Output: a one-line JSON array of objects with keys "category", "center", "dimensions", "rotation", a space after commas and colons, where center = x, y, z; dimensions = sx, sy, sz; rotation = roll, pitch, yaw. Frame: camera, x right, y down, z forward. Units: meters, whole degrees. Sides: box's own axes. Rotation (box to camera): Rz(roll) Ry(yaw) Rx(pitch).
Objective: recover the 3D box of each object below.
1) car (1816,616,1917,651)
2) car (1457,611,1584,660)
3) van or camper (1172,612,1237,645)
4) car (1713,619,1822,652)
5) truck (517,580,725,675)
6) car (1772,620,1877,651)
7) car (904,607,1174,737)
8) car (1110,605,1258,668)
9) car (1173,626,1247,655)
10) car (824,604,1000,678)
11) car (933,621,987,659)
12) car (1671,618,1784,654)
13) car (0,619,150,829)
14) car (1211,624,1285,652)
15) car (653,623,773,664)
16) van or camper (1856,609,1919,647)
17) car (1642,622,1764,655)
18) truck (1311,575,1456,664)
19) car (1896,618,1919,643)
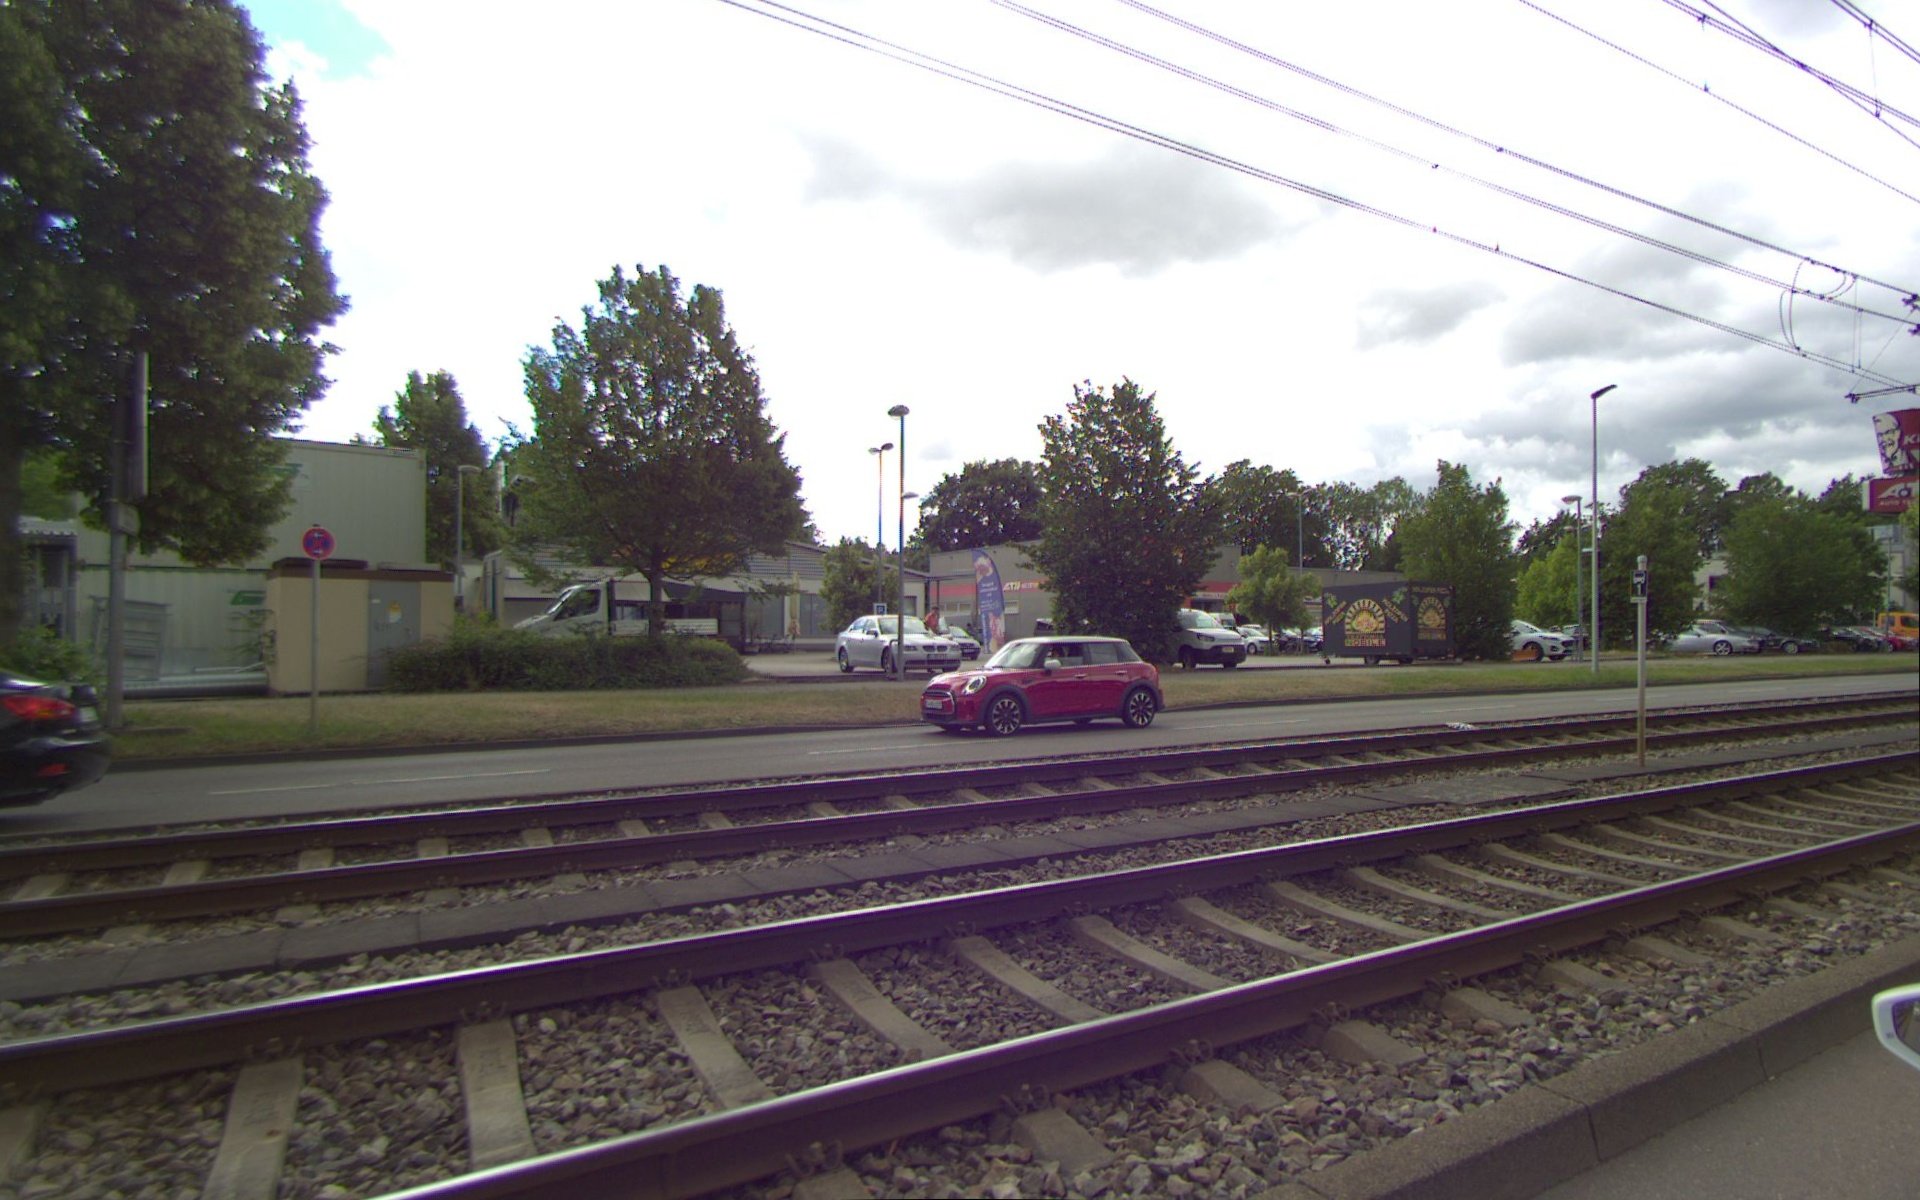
[{"category": "car", "center": [51.605, 1.876, 57.253], "dimensions": [1.858, 1.821, 3.963], "rotation": [1, 0, -34]}, {"category": "car", "center": [22.046, 1.386, 39.652], "dimensions": [1.858, 1.821, 3.963], "rotation": [1, -2, -34]}, {"category": "van or camper", "center": [16.762, 1.986, 68.990], "dimensions": [1.803, 2.173, 4.235], "rotation": [1, -2, -34]}, {"category": "car", "center": [40.914, 1.794, 50.988], "dimensions": [1.858, 1.620, 3.963], "rotation": [1, -2, -34]}, {"category": "truck", "center": [-9.363, 0.772, 27.867], "dimensions": [5.202, 2.414, 1.984], "rotation": [1, -2, -30]}, {"category": "car", "center": [47.019, 1.931, 54.687], "dimensions": [1.858, 1.620, 3.963], "rotation": [1, -2, -34]}, {"category": "car", "center": [1.272, 1.054, 15.727], "dimensions": [3.955, 1.795, 1.783], "rotation": [1, -2, -32]}, {"category": "car", "center": [6.568, 1.074, 29.897], "dimensions": [1.973, 1.750, 4.199], "rotation": [1, -2, -31]}, {"category": "car", "center": [13.512, 2.168, 54.418], "dimensions": [1.664, 1.491, 3.716], "rotation": [1, -2, -36]}, {"category": "car", "center": [-1.334, 0.981, 25.261], "dimensions": [2.619, 1.650, 4.762], "rotation": [0, -1, -29]}, {"category": "car", "center": [-0.049, 1.794, 45.290], "dimensions": [1.835, 1.617, 3.994], "rotation": [0, -2, -9]}, {"category": "car", "center": [36.862, 1.709, 48.332], "dimensions": [1.858, 1.656, 3.963], "rotation": [1, -2, -34]}, {"category": "car", "center": [-8.393, 0.869, 6.705], "dimensions": [4.392, 1.419, 1.751], "rotation": [1, -4, -31]}, {"category": "car", "center": [15.863, 2.087, 55.532], "dimensions": [1.664, 1.491, 3.716], "rotation": [1, -2, -36]}, {"category": "car", "center": [-8.988, 1.599, 36.637], "dimensions": [3.961, 1.419, 1.599], "rotation": [1, -3, -36]}, {"category": "van or camper", "center": [56.101, 1.667, 59.682], "dimensions": [1.858, 2.163, 3.962], "rotation": [1, 0, -34]}, {"category": "car", "center": [34.631, 1.760, 46.949], "dimensions": [1.661, 1.491, 4.284], "rotation": [1, -1, -31]}, {"category": "truck", "center": [14.421, 0.687, 34.420], "dimensions": [2.350, 2.859, 3.966], "rotation": [1, -2, -32]}, {"category": "car", "center": [62.995, 1.932, 64.468], "dimensions": [1.778, 1.620, 3.963], "rotation": [1, -2, -34]}]
